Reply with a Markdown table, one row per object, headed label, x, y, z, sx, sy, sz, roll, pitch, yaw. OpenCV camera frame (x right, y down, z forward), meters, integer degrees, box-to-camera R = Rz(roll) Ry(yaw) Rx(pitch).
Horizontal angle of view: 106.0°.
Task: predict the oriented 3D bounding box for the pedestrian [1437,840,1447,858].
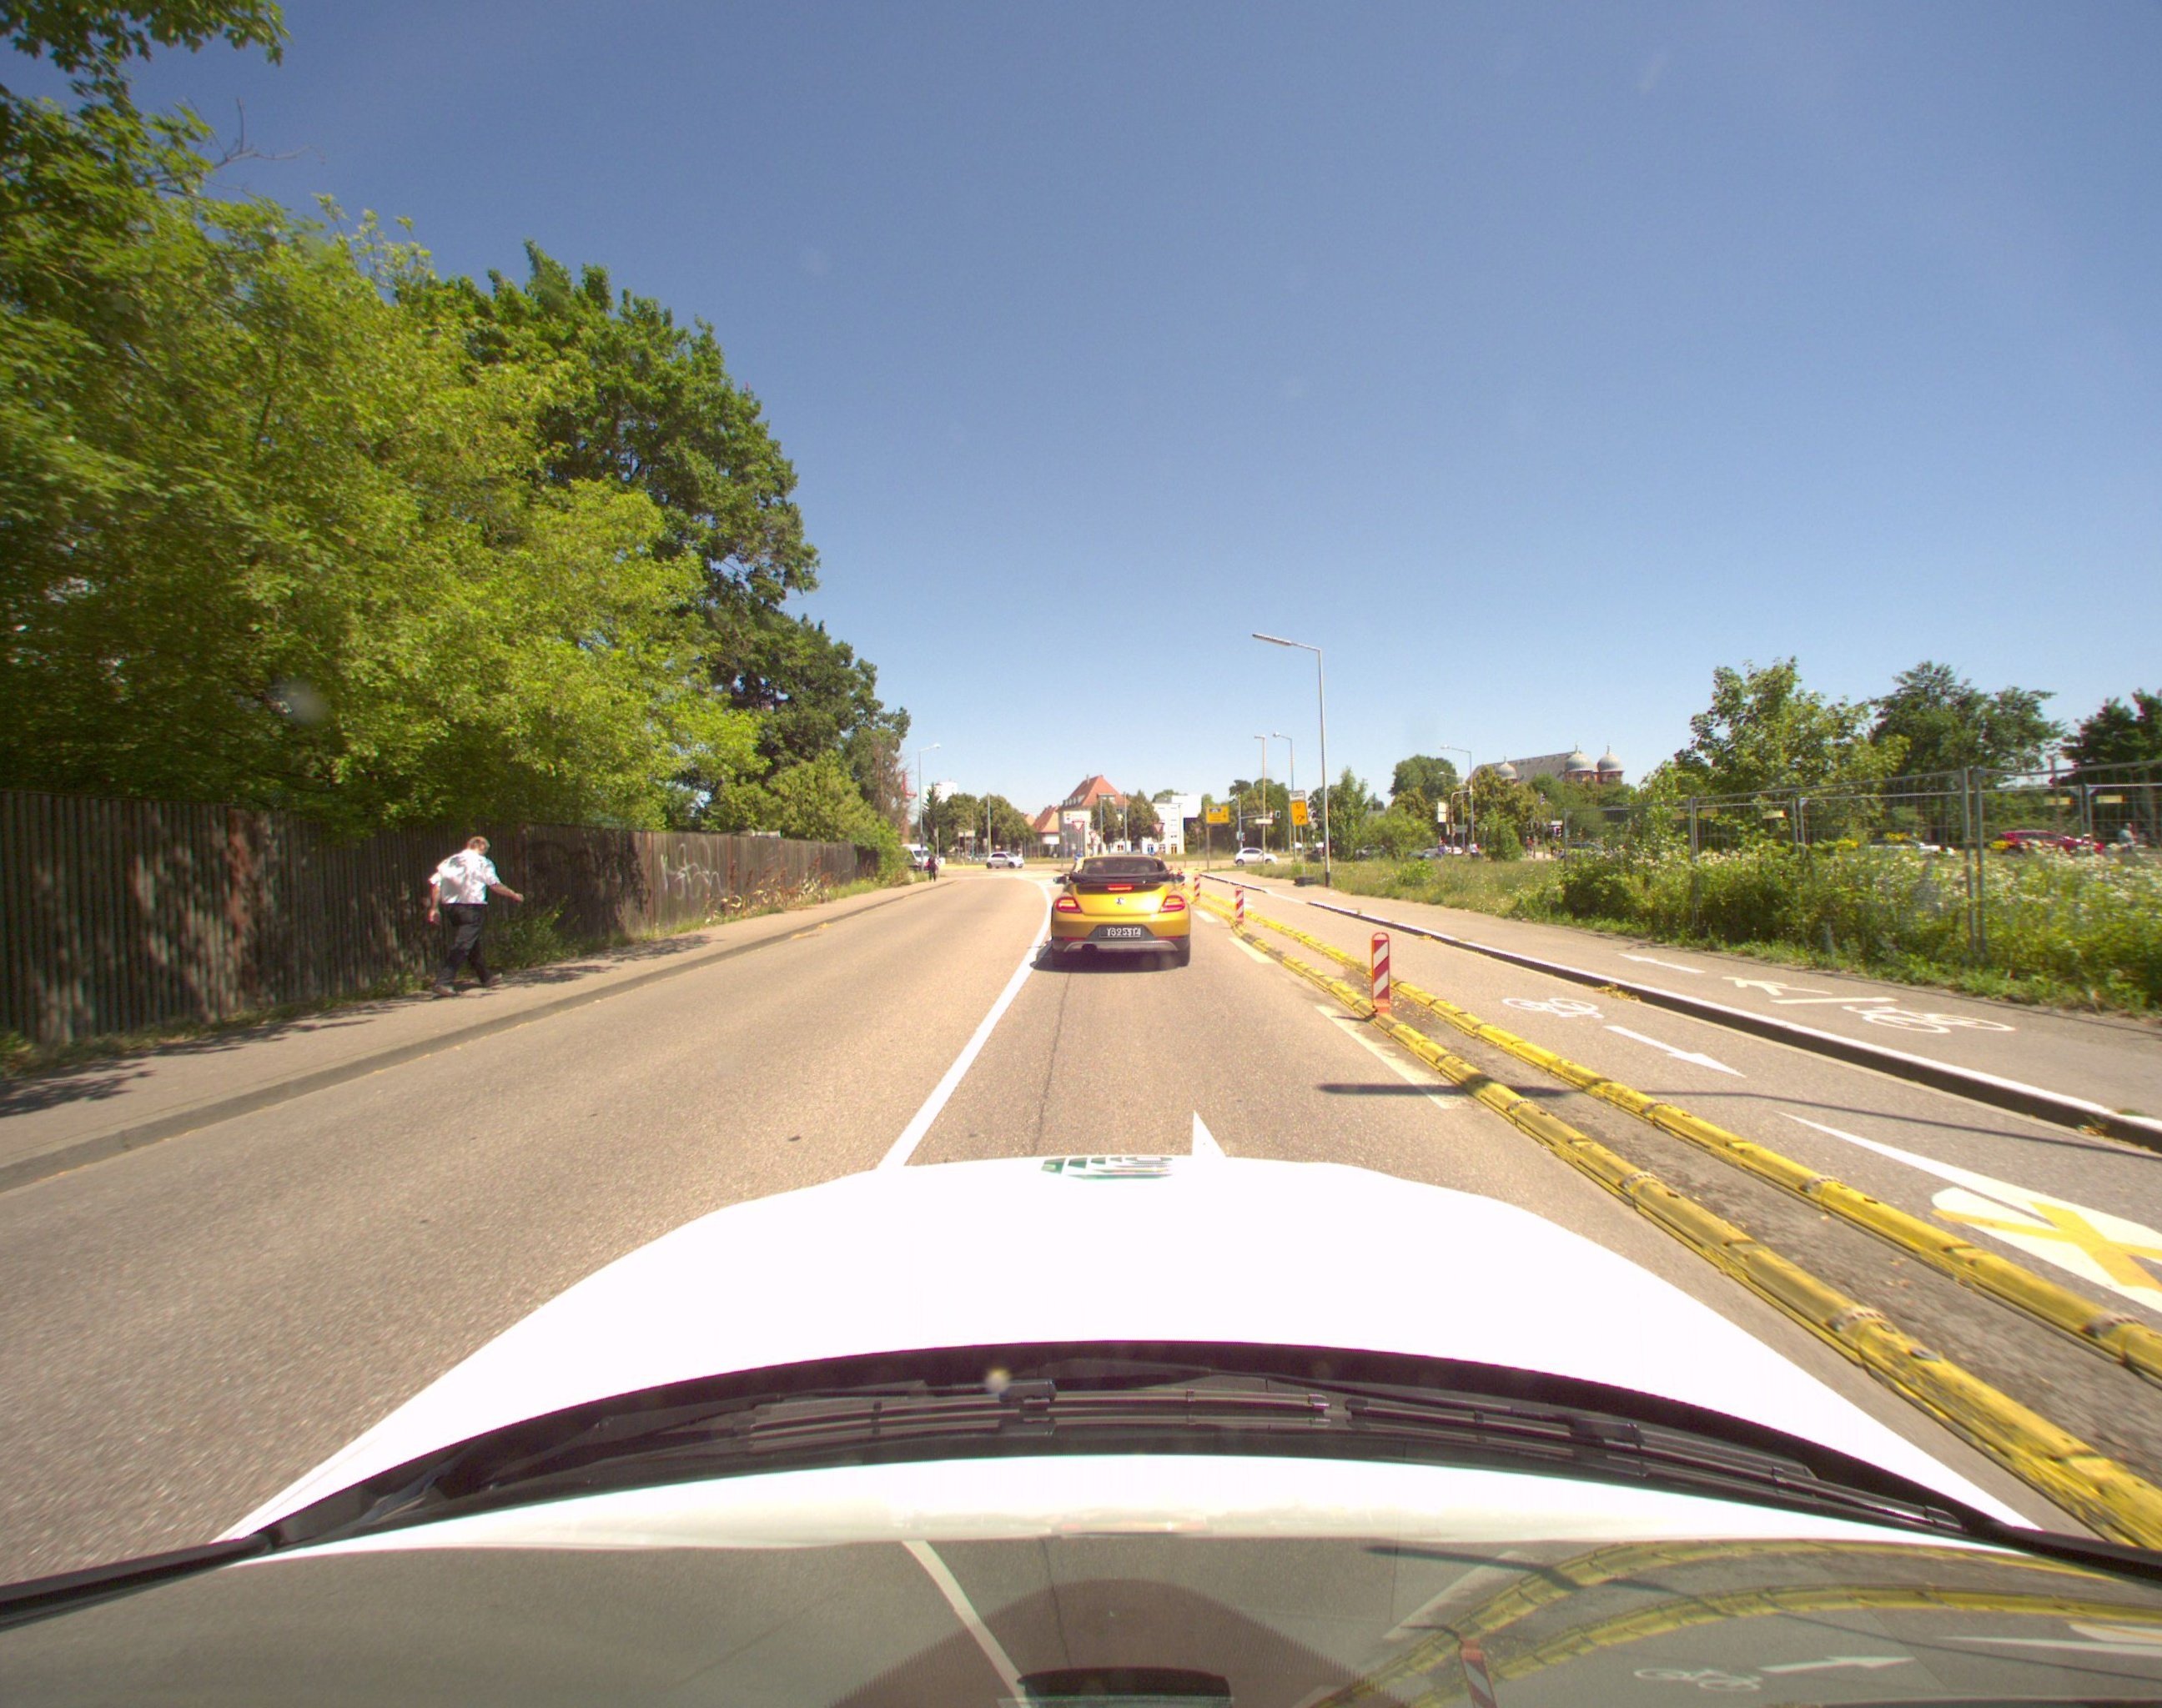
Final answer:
| label | x | y | z | sx | sy | sz | roll | pitch | yaw |
| --- | --- | --- | --- | --- | --- | --- | --- | --- | --- |
| pedestrian | 26.279 | -0.361 | 59.301 | 0.597 | 1.311 | 0.549 | -2 | 0 | 23 |

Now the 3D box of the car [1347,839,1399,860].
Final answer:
| label | x | y | z | sx | sy | sz | roll | pitch | yaw |
| --- | --- | --- | --- | --- | --- | --- | --- | --- | --- |
| car | 25.450 | -0.375 | 71.024 | 4.047 | 1.744 | 1.571 | -2 | 0 | 10 |

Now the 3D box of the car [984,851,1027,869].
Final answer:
| label | x | y | z | sx | sy | sz | roll | pitch | yaw |
| --- | --- | --- | --- | --- | --- | --- | --- | --- | --- |
| car | -7.146 | 0.569 | 76.591 | 3.661 | 1.571 | 1.692 | -2 | 0 | 28 |

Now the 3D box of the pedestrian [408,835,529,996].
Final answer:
| label | x | y | z | sx | sy | sz | roll | pitch | yaw |
| --- | --- | --- | --- | --- | --- | --- | --- | --- | --- |
| pedestrian | -6.889 | 0.662 | 9.205 | 0.720 | 1.725 | 0.817 | -1 | 0 | -2 |

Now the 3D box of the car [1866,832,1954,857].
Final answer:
| label | x | y | z | sx | sy | sz | roll | pitch | yaw |
| --- | --- | --- | --- | --- | --- | --- | --- | --- | --- |
| car | 46.858 | -0.526 | 46.121 | 3.424 | 1.318 | 1.331 | -2 | 0 | 43 |

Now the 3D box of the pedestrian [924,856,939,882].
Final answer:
| label | x | y | z | sx | sy | sz | roll | pitch | yaw |
| --- | --- | --- | --- | --- | --- | --- | --- | --- | --- |
| pedestrian | -8.498 | 0.833 | 46.301 | 0.720 | 1.454 | 0.817 | -2 | 0 | -2 |

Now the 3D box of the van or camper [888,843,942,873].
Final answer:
| label | x | y | z | sx | sy | sz | roll | pitch | yaw |
| --- | --- | --- | --- | --- | --- | --- | --- | --- | --- |
| van or camper | -15.137 | 0.415 | 73.926 | 2.088 | 2.577 | 6.606 | -1 | 0 | -37 |

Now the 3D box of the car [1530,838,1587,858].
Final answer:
| label | x | y | z | sx | sy | sz | roll | pitch | yaw |
| --- | --- | --- | --- | --- | --- | --- | --- | --- | --- |
| car | 34.147 | -0.434 | 58.269 | 3.286 | 1.358 | 1.406 | -2 | 0 | 43 |

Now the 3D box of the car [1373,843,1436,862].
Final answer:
| label | x | y | z | sx | sy | sz | roll | pitch | yaw |
| --- | --- | --- | --- | --- | --- | --- | --- | --- | --- |
| car | 25.006 | -0.102 | 63.017 | 4.405 | 1.358 | 1.544 | -2 | 0 | 17 |

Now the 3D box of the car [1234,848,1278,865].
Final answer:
| label | x | y | z | sx | sy | sz | roll | pitch | yaw |
| --- | --- | --- | --- | --- | --- | --- | --- | --- | --- |
| car | 14.282 | 0.204 | 66.292 | 3.412 | 1.275 | 1.207 | -2 | 0 | 15 |

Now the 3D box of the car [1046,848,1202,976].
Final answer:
| label | x | y | z | sx | sy | sz | roll | pitch | yaw |
| --- | --- | --- | --- | --- | --- | --- | --- | --- | --- |
| car | 0.528 | 0.671 | 11.358 | 1.784 | 1.436 | 3.814 | -1 | 0 | 1 |

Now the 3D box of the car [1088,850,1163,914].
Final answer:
| label | x | y | z | sx | sy | sz | roll | pitch | yaw |
| --- | --- | --- | --- | --- | --- | --- | --- | --- | --- |
| car | 1.126 | 0.652 | 21.044 | 1.720 | 1.443 | 4.003 | -1 | 0 | 2 |

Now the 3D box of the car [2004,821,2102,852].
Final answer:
| label | x | y | z | sx | sy | sz | roll | pitch | yaw |
| --- | --- | --- | --- | --- | --- | --- | --- | --- | --- |
| car | 55.316 | -0.971 | 46.438 | 1.802 | 1.618 | 3.507 | -1 | 0 | -42 |

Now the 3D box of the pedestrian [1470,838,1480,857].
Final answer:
| label | x | y | z | sx | sy | sz | roll | pitch | yaw |
| --- | --- | --- | --- | --- | --- | --- | --- | --- | --- |
| pedestrian | 27.753 | -0.439 | 57.367 | 0.539 | 1.311 | 0.608 | -2 | 0 | 34 |
